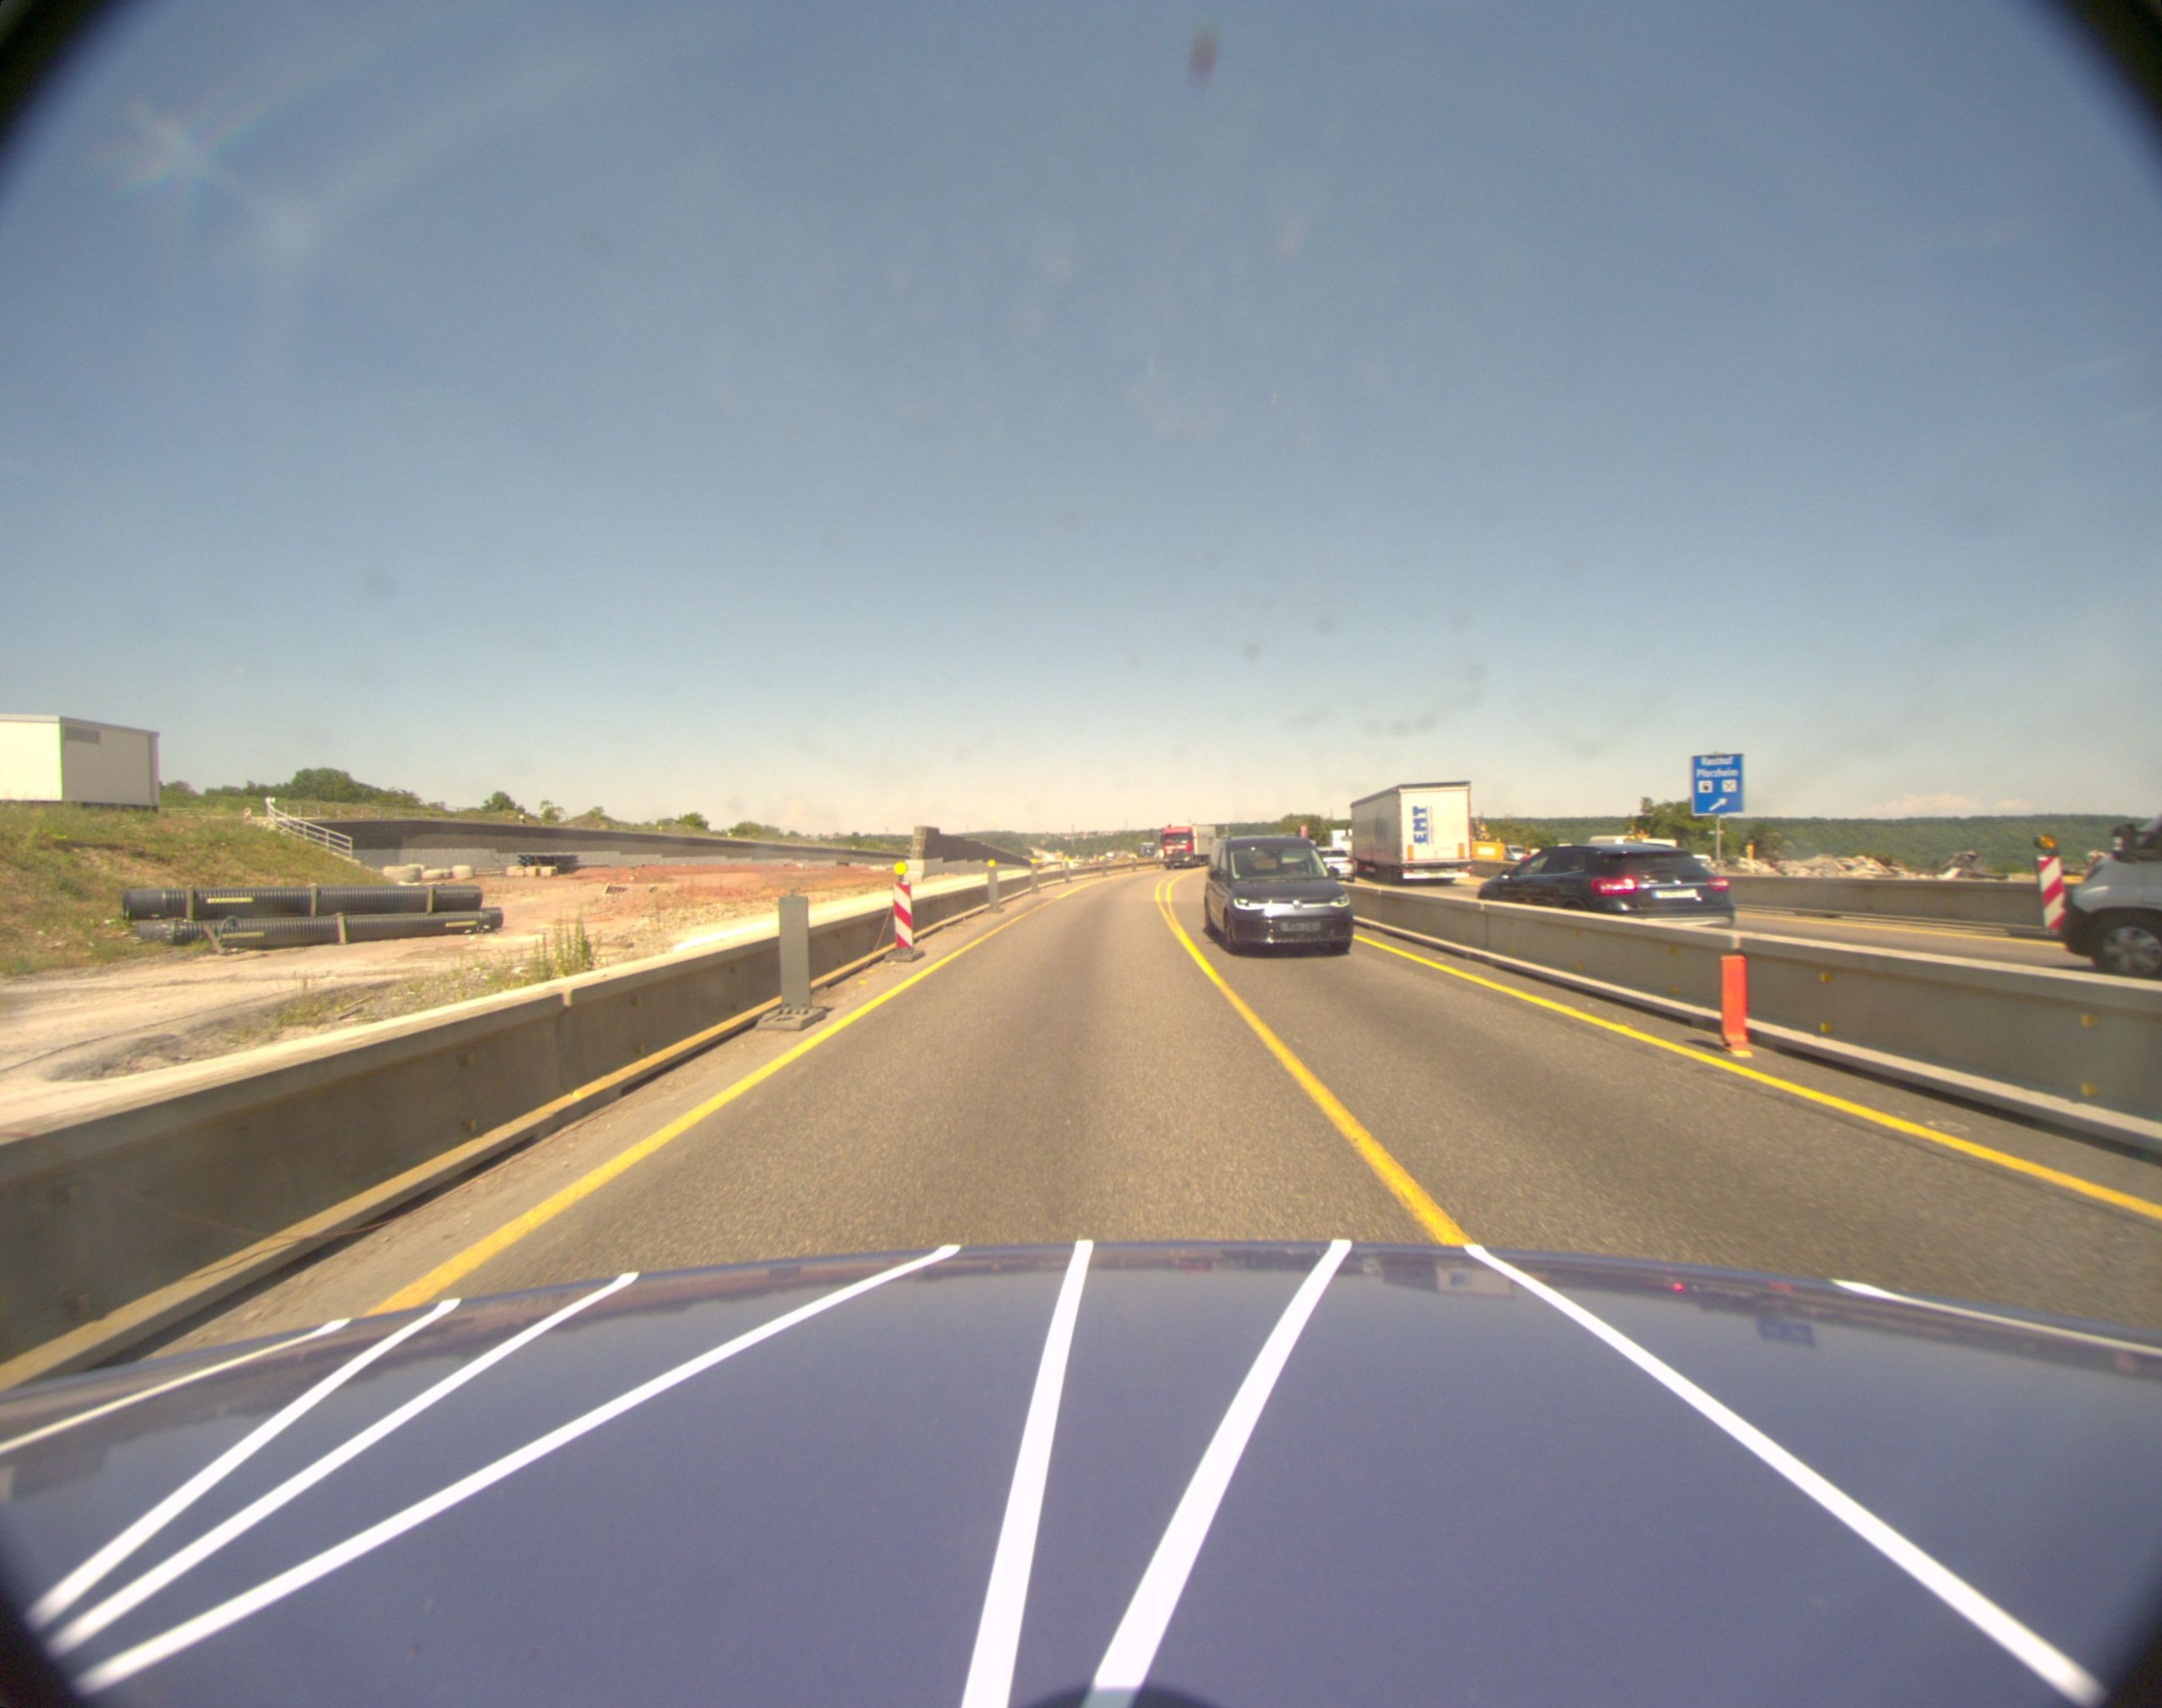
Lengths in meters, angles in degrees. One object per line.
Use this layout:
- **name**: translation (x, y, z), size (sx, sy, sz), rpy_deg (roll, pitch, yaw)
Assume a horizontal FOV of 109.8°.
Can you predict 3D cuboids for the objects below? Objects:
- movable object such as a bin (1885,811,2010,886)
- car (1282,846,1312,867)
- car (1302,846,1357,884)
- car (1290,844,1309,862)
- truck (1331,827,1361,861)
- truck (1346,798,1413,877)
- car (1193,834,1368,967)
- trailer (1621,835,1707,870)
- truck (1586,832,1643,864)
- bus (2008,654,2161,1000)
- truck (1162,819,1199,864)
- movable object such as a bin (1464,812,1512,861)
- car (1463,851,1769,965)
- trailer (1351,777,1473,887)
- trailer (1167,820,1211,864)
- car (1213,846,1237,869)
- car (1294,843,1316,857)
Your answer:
- **movable object such as a bin**: translation (38.364, -0.235, 33.812), size (1.995, 3.122, 4.284), rpy_deg (0, 1, 23)
- **car**: translation (15.463, 0.151, 54.239), size (1.670, 1.467, 3.976), rpy_deg (-1, 0, 22)
- **car**: translation (10.580, 0.425, 32.612), size (1.798, 1.467, 4.781), rpy_deg (-1, 0, 13)
- **car**: translation (20.573, -0.115, 71.603), size (1.662, 1.596, 4.401), rpy_deg (-1, 0, 16)
- **truck**: translation (25.087, -0.948, 72.111), size (2.444, 3.054, 7.257), rpy_deg (-1, 0, 17)
- **truck**: translation (16.463, -0.872, 42.250), size (2.705, 4.038, 5.506), rpy_deg (-1, 1, 13)
- **car**: translation (3.084, 0.621, 12.768), size (1.925, 1.779, 4.604), rpy_deg (-2, 0, 3)
- **trailer**: translation (52.103, -0.136, 67.976), size (5.578, 2.979, 2.883), rpy_deg (-1, 1, -2)
- **truck**: translation (51.211, -0.558, 73.033), size (2.347, 3.026, 4.263), rpy_deg (-1, 0, -2)
- **bus**: translation (10.663, -0.237, 4.341), size (2.354, 3.107, 7.231), rpy_deg (-1, 0, 5)
- **truck**: translation (8.957, -1.075, 67.845), size (2.624, 3.880, 4.939), rpy_deg (-1, 1, 15)
- **movable object such as a bin**: translation (38.042, -1.559, 71.351), size (2.926, 4.304, 9.340), rpy_deg (0, 0, 22)
- **car**: translation (7.752, 0.667, 11.657), size (1.812, 1.406, 4.400), rpy_deg (-1, 0, 4)
- **trailer**: translation (14.894, -0.865, 35.481), size (2.764, 4.090, 13.991), rpy_deg (-1, 0, 13)
- **trailer**: translation (10.623, -1.103, 73.605), size (2.698, 3.852, 12.436), rpy_deg (-1, 0, 15)
- **car**: translation (11.947, 0.283, 62.978), size (1.797, 1.776, 4.004), rpy_deg (-1, 0, 12)
- **car**: translation (31.990, -0.592, 108.737), size (1.870, 1.942, 4.893), rpy_deg (-1, 0, 3)
